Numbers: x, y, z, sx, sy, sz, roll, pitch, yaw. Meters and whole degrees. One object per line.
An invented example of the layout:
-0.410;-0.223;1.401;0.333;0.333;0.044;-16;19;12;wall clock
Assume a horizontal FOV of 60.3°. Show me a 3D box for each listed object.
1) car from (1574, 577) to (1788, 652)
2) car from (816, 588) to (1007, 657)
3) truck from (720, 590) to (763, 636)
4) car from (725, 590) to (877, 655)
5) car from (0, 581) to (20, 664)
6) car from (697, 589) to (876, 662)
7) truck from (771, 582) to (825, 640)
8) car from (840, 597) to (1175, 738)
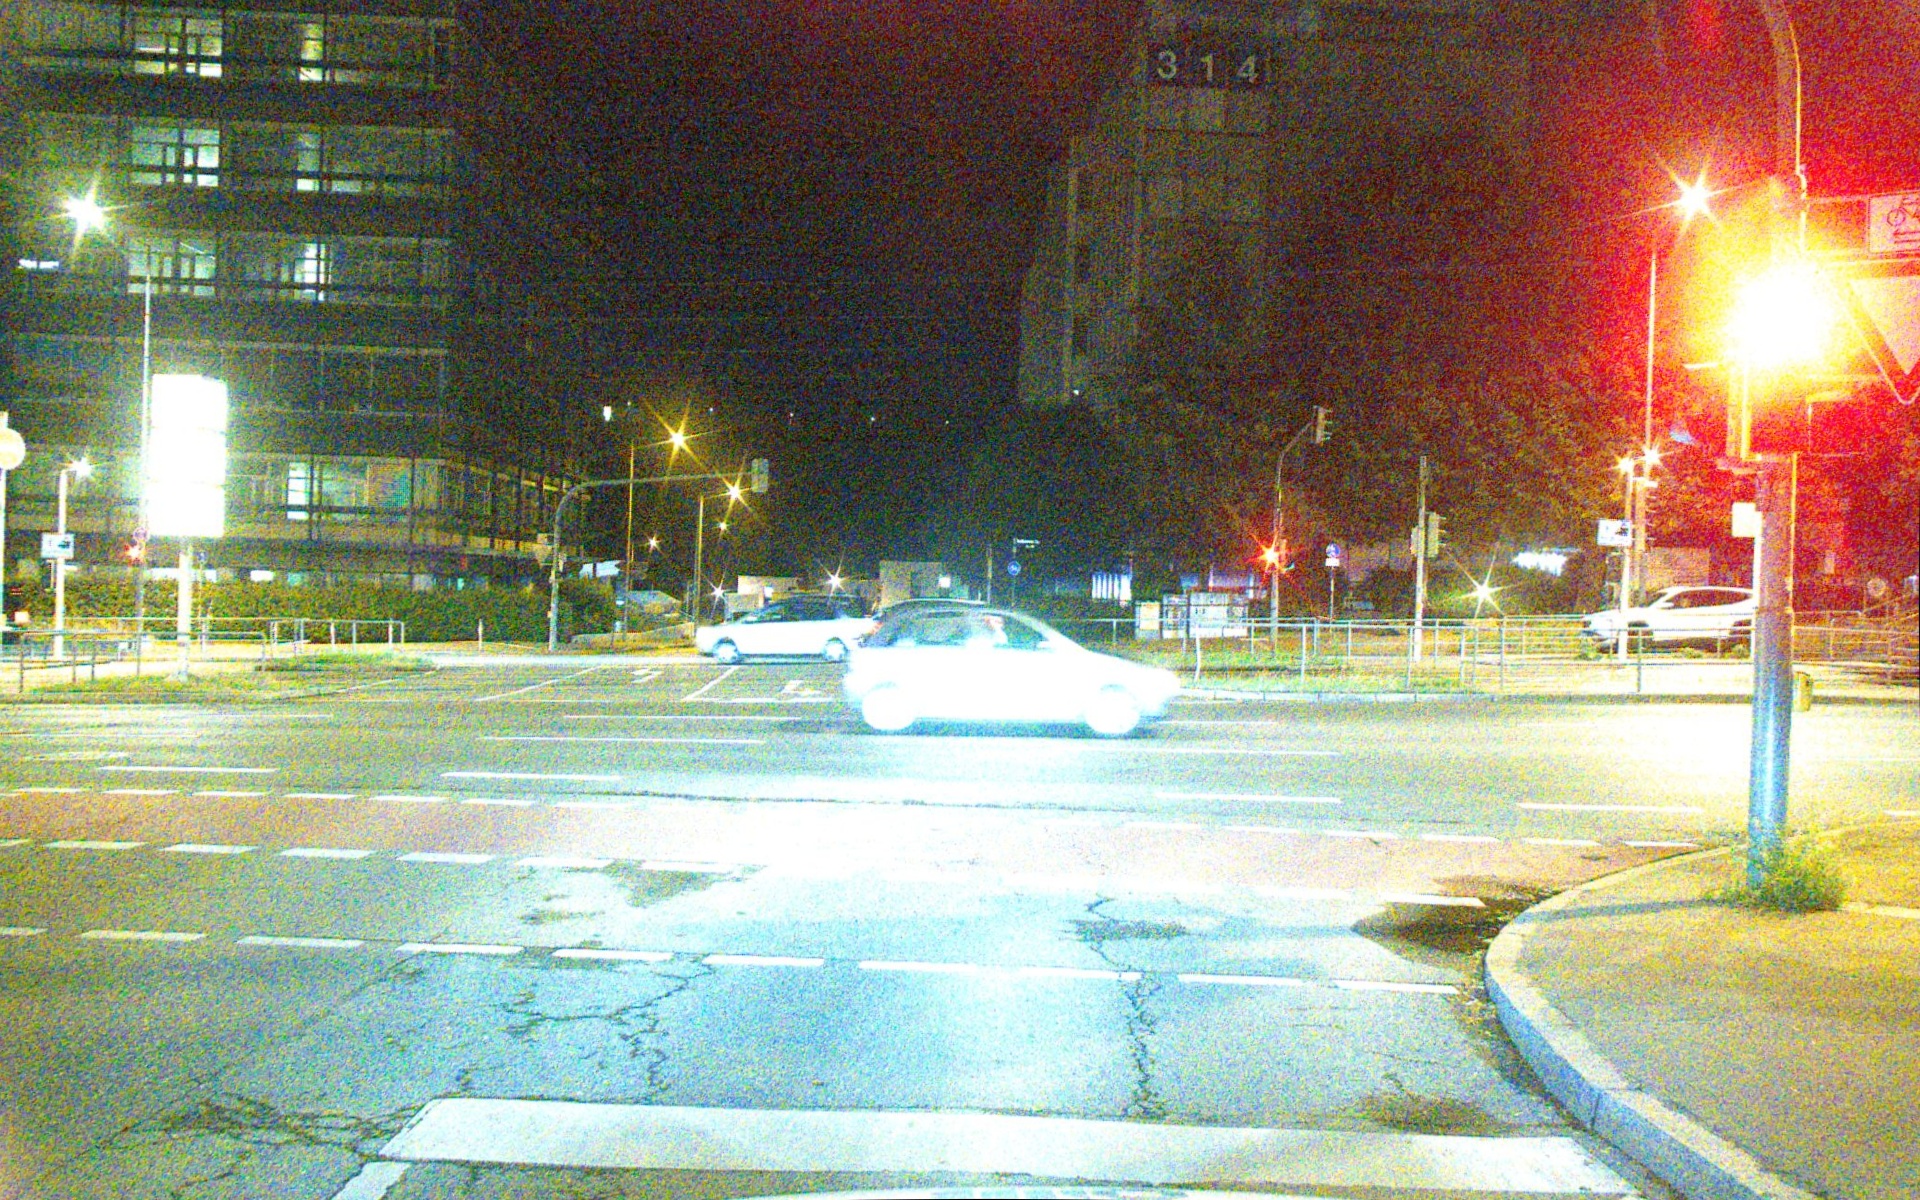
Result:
17.301;0.357;39.831;4.306;1.672;1.942;1;-1;2;car
-1.134;0.526;40.050;4.479;1.512;1.779;1;0;2;car
-15.840;0.955;119.669;2.377;3.143;6.414;2;-1;-14;truck
-4.179;0.579;43.957;3.738;1.660;1.813;0;0;5;car
-24.626;0.450;38.091;4.840;1.917;1.869;1;-1;2;car
-3.868;0.579;37.309;3.755;1.512;1.869;1;-1;2;car
-14.623;0.998;148.602;3.307;4.927;7.868;2;-1;-17;truck
0.555;0.740;18.784;3.610;1.445;1.643;-1;0;3;car
